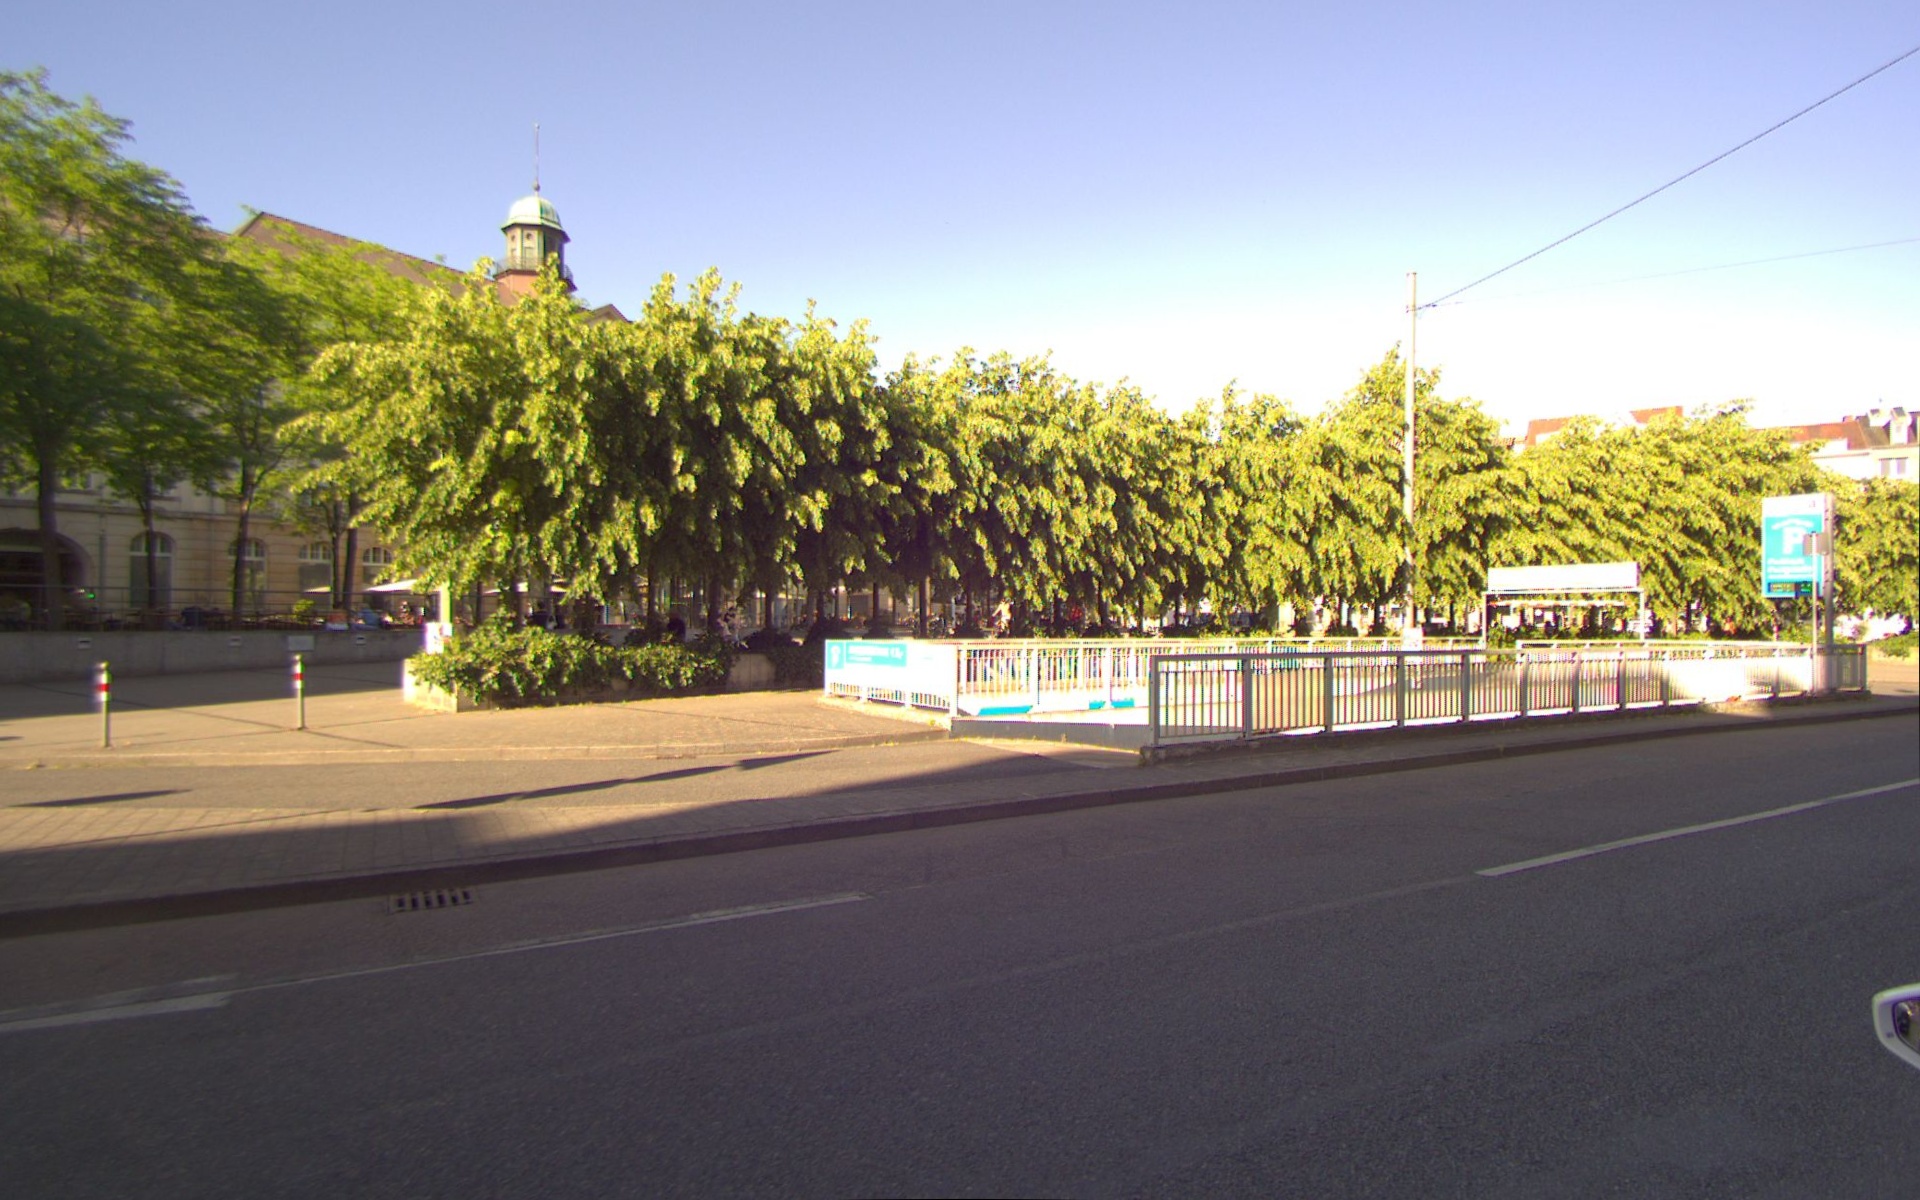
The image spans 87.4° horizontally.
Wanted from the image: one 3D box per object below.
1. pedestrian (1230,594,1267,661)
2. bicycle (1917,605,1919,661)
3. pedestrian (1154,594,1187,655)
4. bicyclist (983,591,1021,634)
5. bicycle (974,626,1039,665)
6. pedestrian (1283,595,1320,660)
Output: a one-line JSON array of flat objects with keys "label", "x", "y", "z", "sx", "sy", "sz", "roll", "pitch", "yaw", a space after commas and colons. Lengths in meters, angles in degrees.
[{"label": "pedestrian", "x": 9.436, "y": 0.891, "z": 32.840, "sx": 0.949, "sy": 2.136, "sz": 0.733, "roll": 0, "pitch": 0, "yaw": -8}, {"label": "bicycle", "x": 35.666, "y": 1.195, "z": 35.108, "sx": 0.895, "sy": 2.040, "sz": 3.116, "roll": 0, "pitch": 0, "yaw": -21}, {"label": "pedestrian", "x": 7.557, "y": 0.878, "z": 36.041, "sx": 0.949, "sy": 2.136, "sz": 0.733, "roll": 0, "pitch": 0, "yaw": -8}, {"label": "bicyclist", "x": 1.723, "y": 0.516, "z": 41.183, "sx": 1.199, "sy": 1.723, "sz": 0.957, "roll": 1, "pitch": 0, "yaw": -36}, {"label": "bicycle", "x": 1.917, "y": 1.859, "z": 41.357, "sx": 2.662, "sy": 1.523, "sz": 0.957, "roll": 1, "pitch": -1, "yaw": -36}, {"label": "pedestrian", "x": 11.394, "y": 0.923, "z": 33.546, "sx": 0.949, "sy": 2.136, "sz": 0.733, "roll": 0, "pitch": 0, "yaw": -8}]
